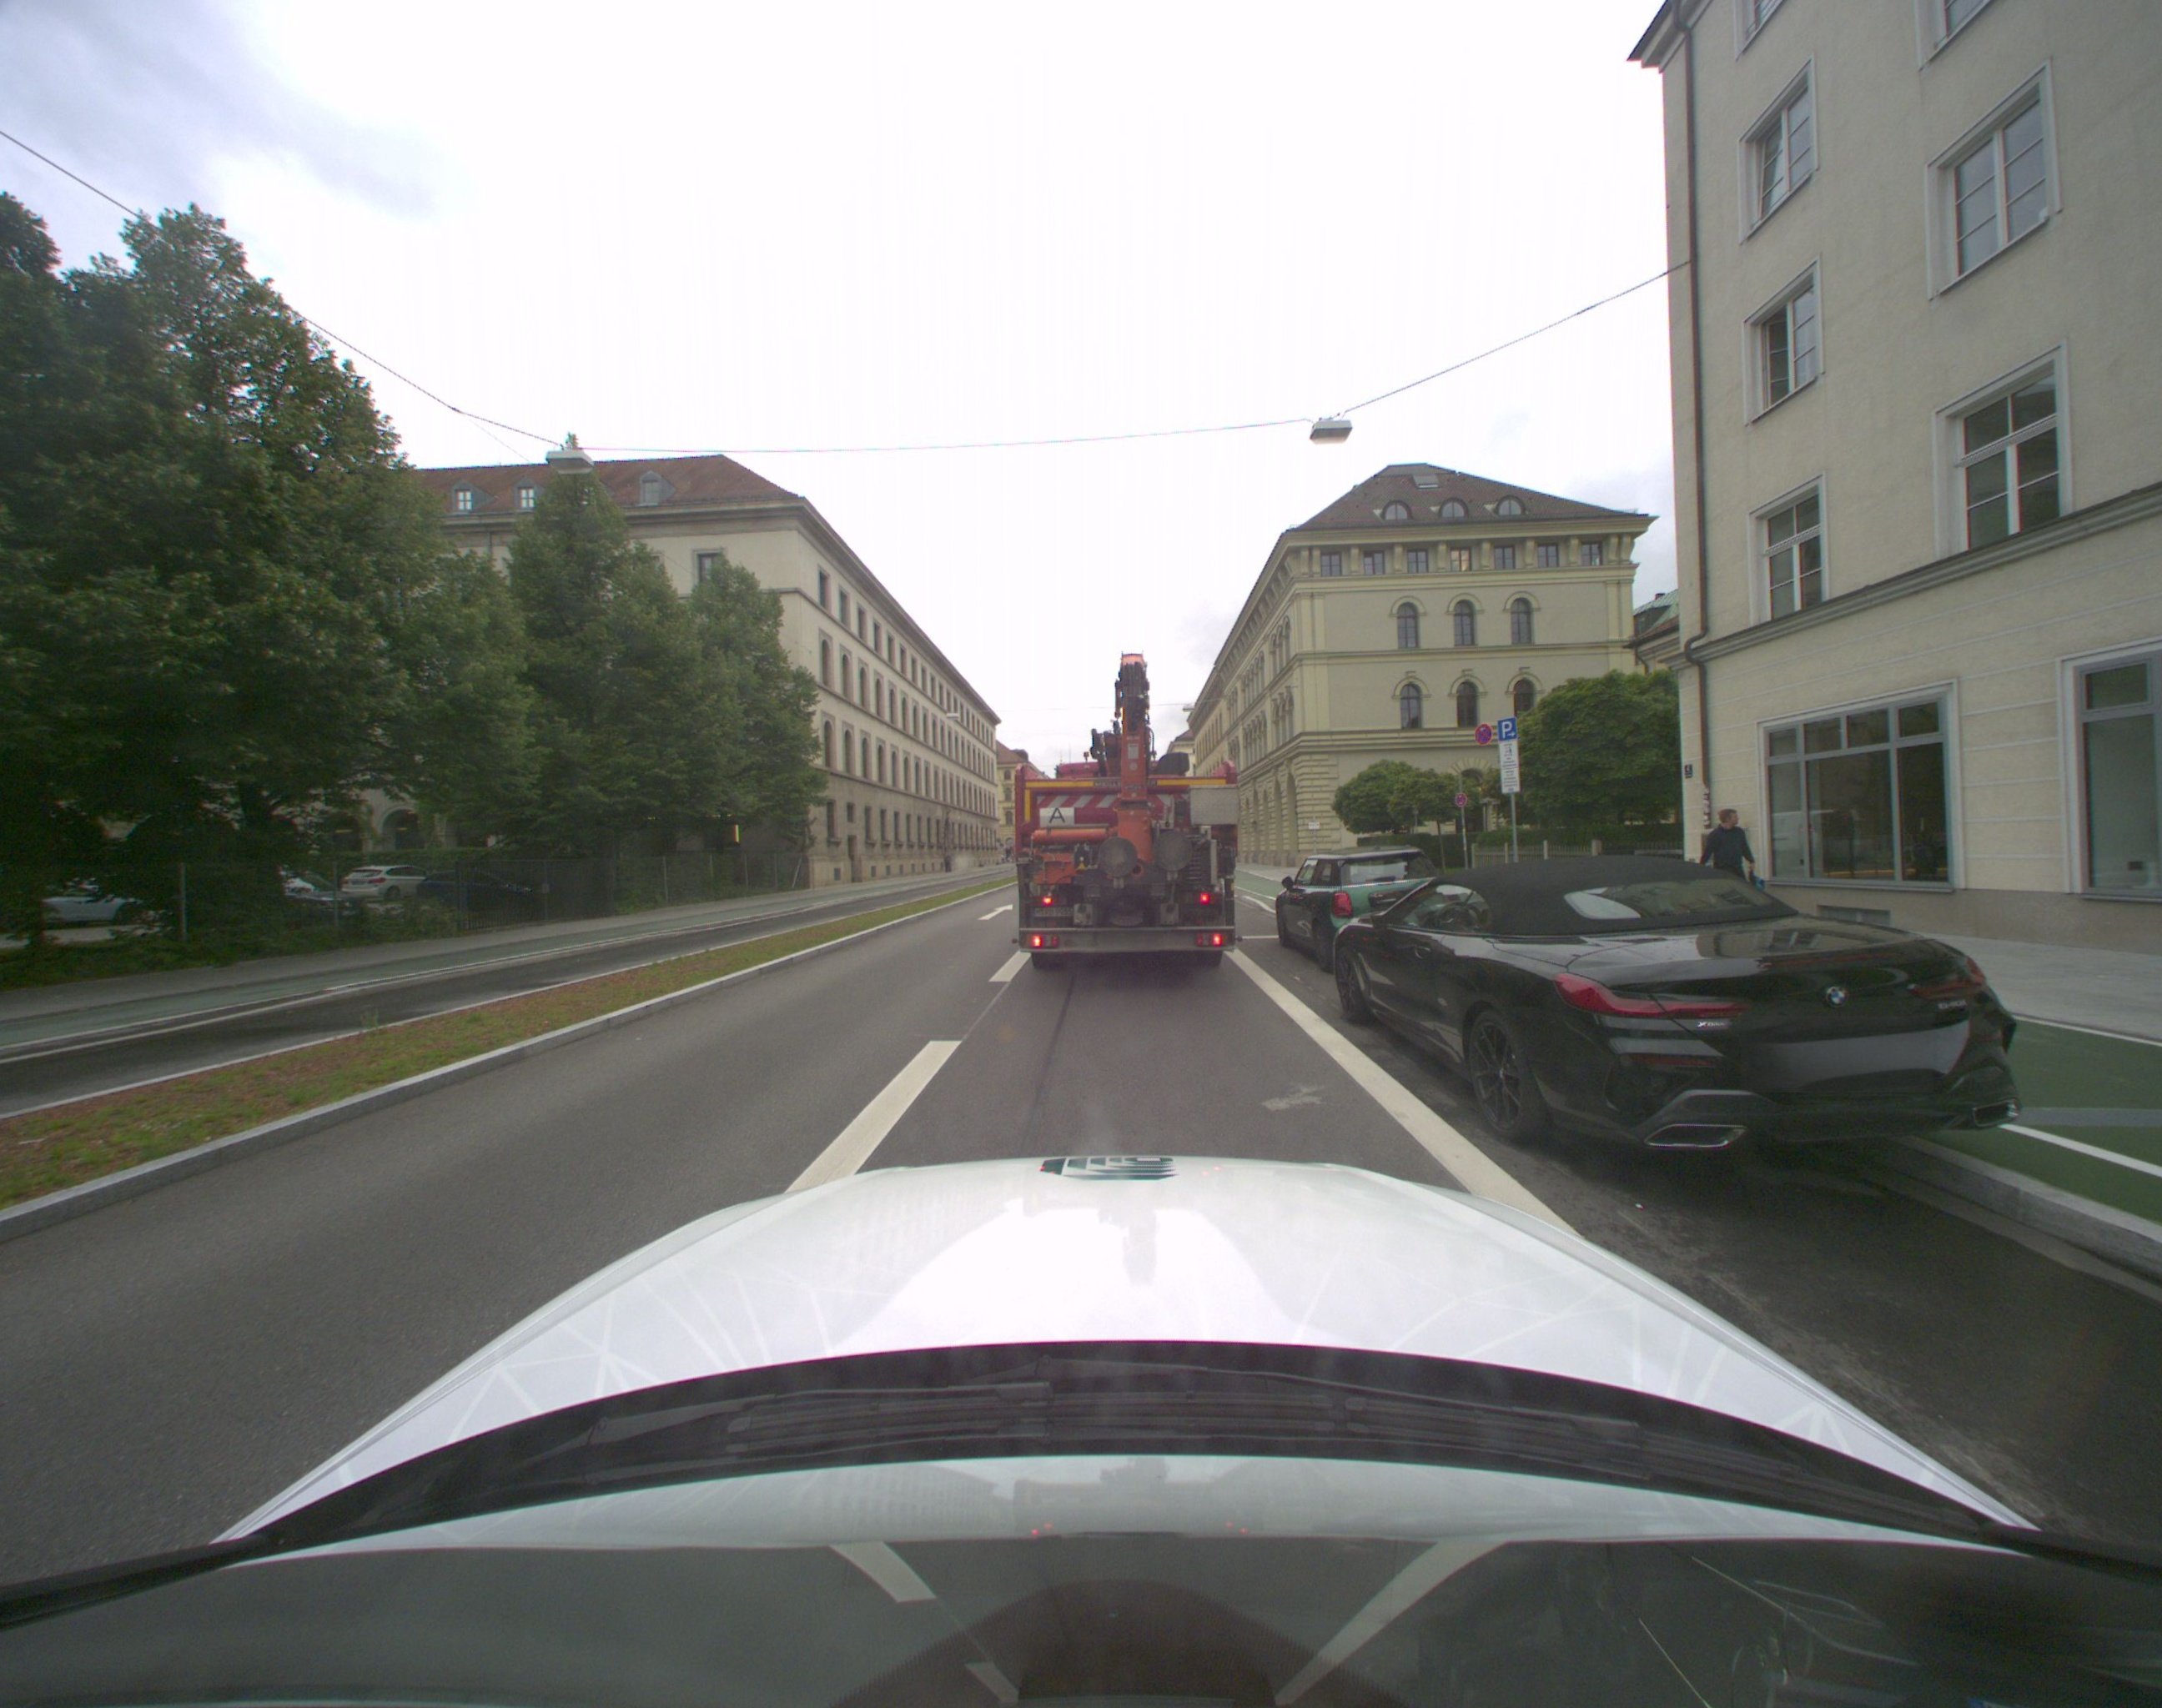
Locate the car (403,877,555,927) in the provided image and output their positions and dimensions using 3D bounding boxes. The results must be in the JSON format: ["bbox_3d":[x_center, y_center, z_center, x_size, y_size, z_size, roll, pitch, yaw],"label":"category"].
[{"bbox_3d":[-21.008,1.648,28.535,3.914,1.545,1.836,-1,1,0],"label":"car"}]

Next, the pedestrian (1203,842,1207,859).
[{"bbox_3d":[12.841,-0.347,84.267,0.336,1.672,0.440,-2,0,4],"label":"pedestrian"}]

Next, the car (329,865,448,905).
[{"bbox_3d":[-30.693,1.312,36.276,1.823,1.545,3.941,-1,1,1],"label":"car"}]

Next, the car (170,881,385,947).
[{"bbox_3d":[-21.504,1.574,21.924,3.914,1.545,1.836,-1,1,0],"label":"car"}]

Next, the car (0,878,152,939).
[{"bbox_3d":[-31.212,1.612,24.411,1.823,1.545,4.178,-1,1,1],"label":"car"}]

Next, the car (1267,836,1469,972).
[{"bbox_3d":[3.676,0.563,11.031,1.604,1.495,3.427,-2,0,2],"label":"car"}]

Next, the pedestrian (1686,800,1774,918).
[{"bbox_3d":[10.590,0.078,13.317,0.787,1.836,0.778,-2,0,3],"label":"pedestrian"}]

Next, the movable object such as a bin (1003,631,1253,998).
[{"bbox_3d":[0.550,-0.412,11.081,2.414,3.611,5.853,-2,0,1],"label":"movable object such as a bin"}]

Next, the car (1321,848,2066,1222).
[{"bbox_3d":[3.005,0.689,5.352,1.673,1.386,4.429,-2,0,2],"label":"car"}]

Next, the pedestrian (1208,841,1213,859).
[{"bbox_3d":[13.390,-0.389,84.297,0.444,1.836,0.556,-2,0,4],"label":"pedestrian"}]

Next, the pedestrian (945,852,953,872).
[{"bbox_3d":[-12.249,0.783,75.612,0.586,1.831,0.499,-1,0,1],"label":"pedestrian"}]
